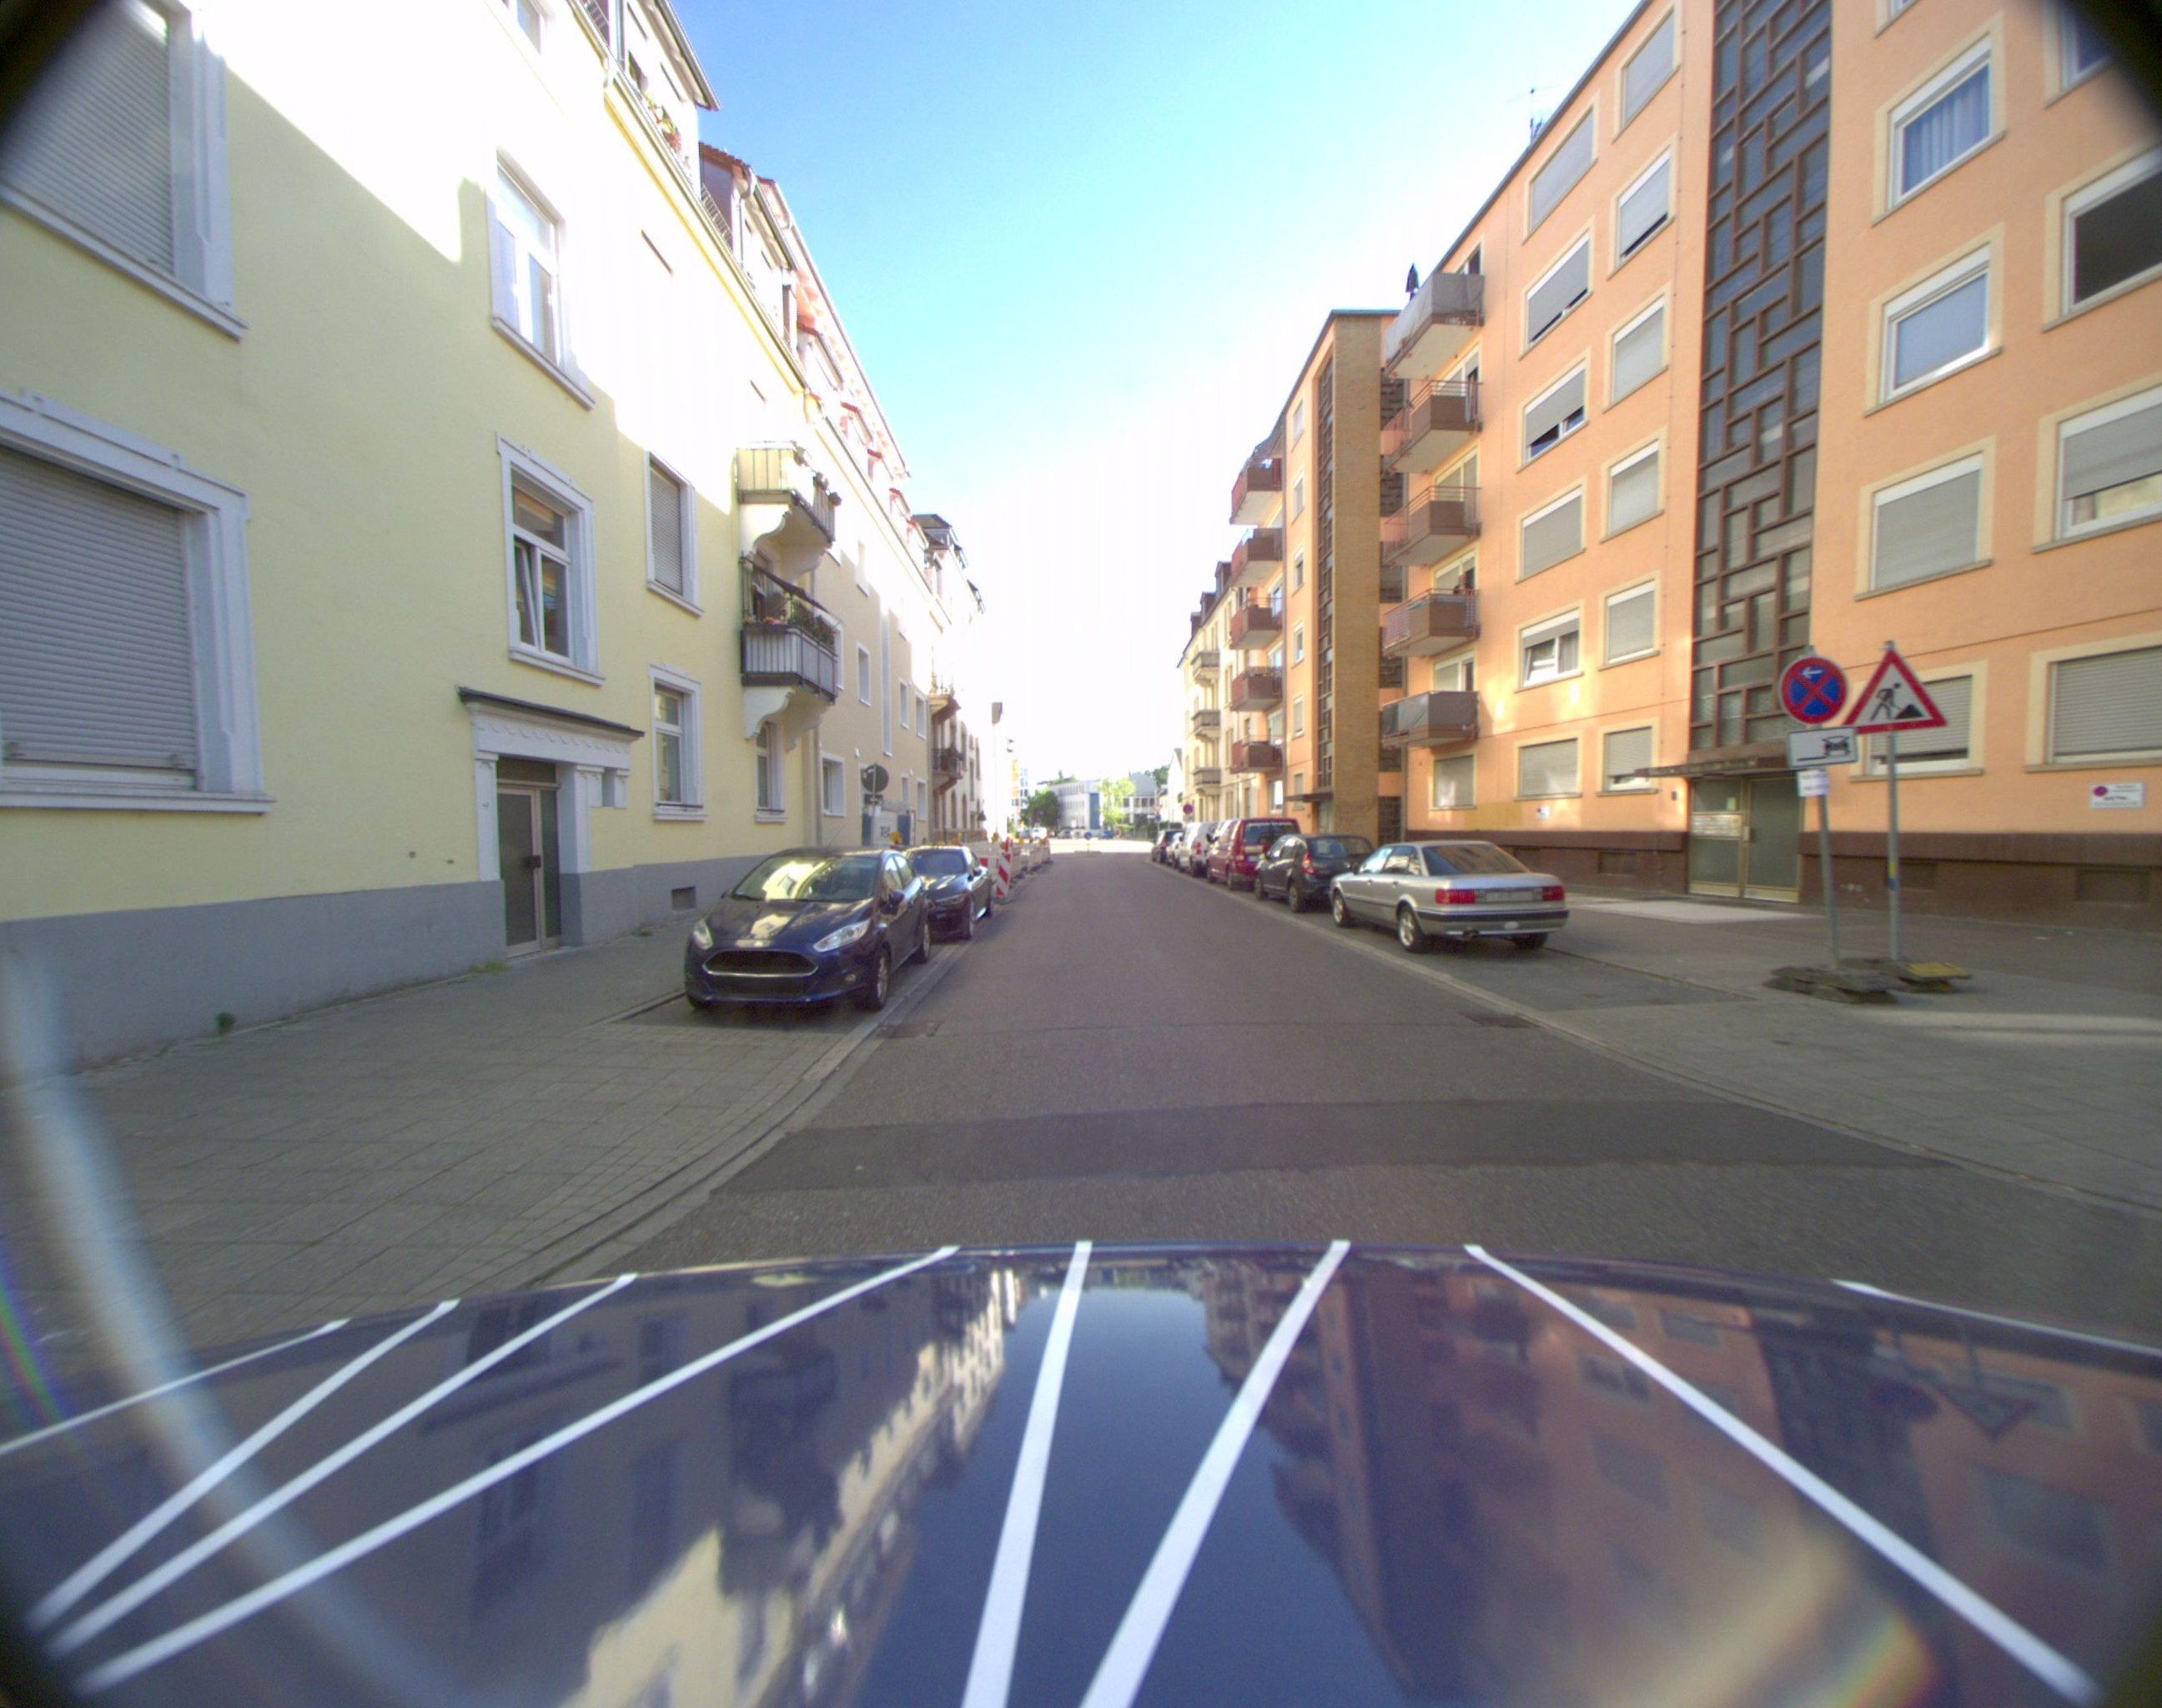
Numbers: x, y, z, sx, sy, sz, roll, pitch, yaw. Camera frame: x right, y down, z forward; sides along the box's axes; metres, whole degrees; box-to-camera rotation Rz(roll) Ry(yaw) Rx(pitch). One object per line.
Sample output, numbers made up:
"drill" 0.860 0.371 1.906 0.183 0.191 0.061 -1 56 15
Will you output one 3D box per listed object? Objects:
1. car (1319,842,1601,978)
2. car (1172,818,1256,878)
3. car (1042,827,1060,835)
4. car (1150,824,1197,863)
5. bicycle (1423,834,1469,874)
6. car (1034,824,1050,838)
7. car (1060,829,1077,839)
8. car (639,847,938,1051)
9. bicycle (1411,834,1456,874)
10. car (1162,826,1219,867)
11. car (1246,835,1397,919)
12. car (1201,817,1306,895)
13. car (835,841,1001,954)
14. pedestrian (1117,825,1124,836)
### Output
"car" 4.947 0.593 10.746 1.767 1.370 4.476 -2 2 0
"car" 4.649 -0.289 27.339 1.980 1.914 5.306 -1 2 -1
"car" -6.259 -4.855 157.840 2.141 1.605 4.825 -3 3 -21
"car" 4.550 -0.572 37.848 1.767 1.761 4.292 -1 2 -1
"bicycle" 10.614 -0.029 22.164 0.342 1.107 1.761 -1 2 -6
"car" -5.837 -3.506 114.334 1.998 2.002 4.795 2 2 1
"car" -2.307 -3.608 137.539 1.882 1.686 4.266 -1 2 -18
"car" -2.664 0.737 7.968 1.768 1.463 4.081 2 2 -4
"bicycle" 10.229 -0.017 22.112 0.342 1.107 1.761 -1 2 -6
"car" 4.668 -0.370 32.937 1.767 1.612 4.292 -1 2 -1
"car" 4.802 0.366 15.822 1.767 1.494 3.998 0 2 -2
"car" 4.693 -0.041 21.418 1.767 1.914 4.932 -1 2 -1
"car" -2.544 0.566 13.177 1.806 1.462 5.109 2 2 -1
"pedestrian" 6.337 -3.730 121.229 0.820 1.696 0.995 -2 3 -14
